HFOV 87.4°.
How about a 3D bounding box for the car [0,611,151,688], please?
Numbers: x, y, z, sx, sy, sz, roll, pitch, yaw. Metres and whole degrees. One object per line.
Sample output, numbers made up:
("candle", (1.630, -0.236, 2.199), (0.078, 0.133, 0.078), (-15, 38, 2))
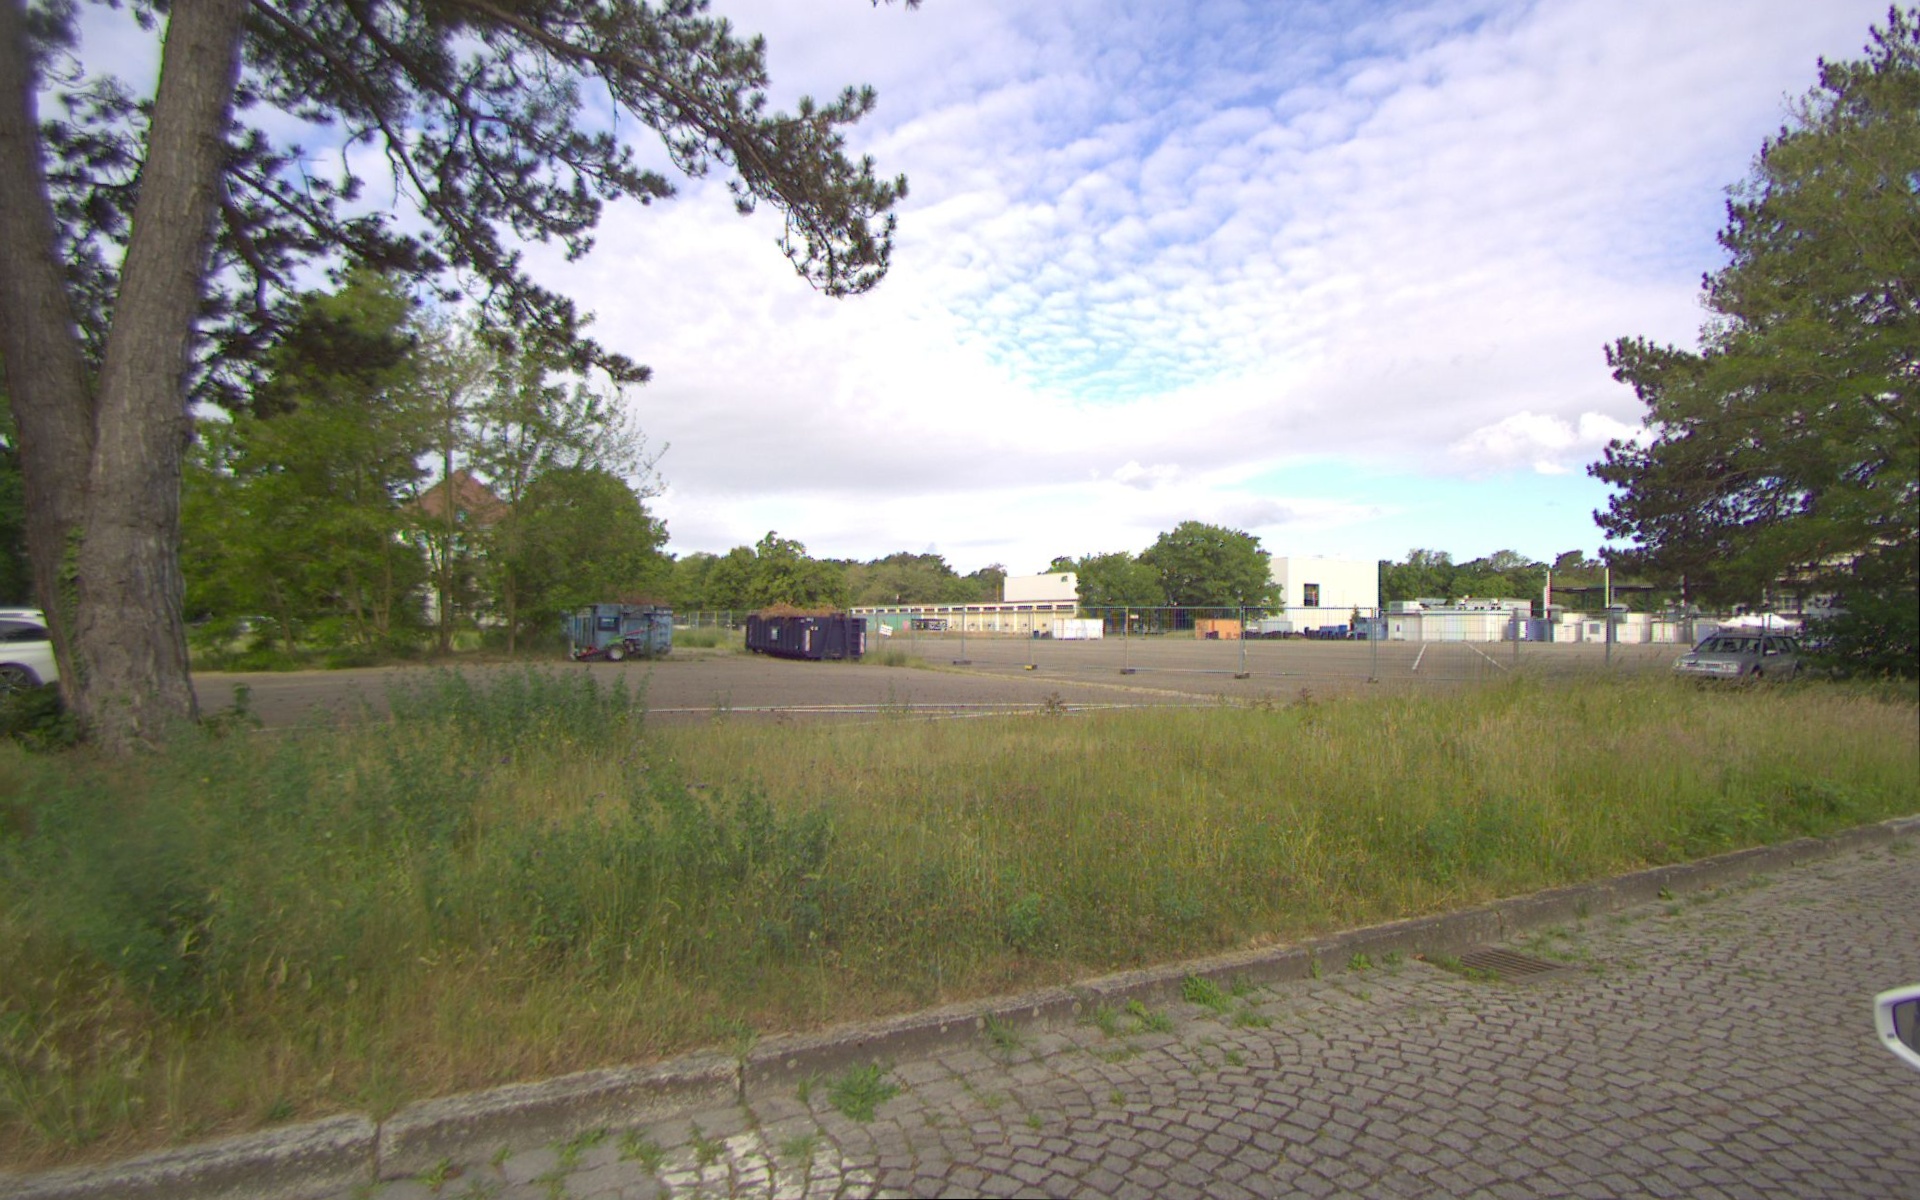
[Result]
("car", (-19.633, 1.007, 20.546), (4.530, 1.489, 1.827), (-1, 0, -30))

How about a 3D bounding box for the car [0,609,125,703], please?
("car", (-16.656, 0.930, 16.245), (4.604, 1.470, 1.825), (-1, 0, -33))

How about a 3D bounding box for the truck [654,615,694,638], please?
("truck", (-29.048, 2.627, 101.874), (2.346, 2.227, 6.503), (1, -1, -30))

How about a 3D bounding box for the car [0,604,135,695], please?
("car", (-18.168, 0.908, 18.357), (4.534, 1.599, 1.825), (-1, 0, -33))

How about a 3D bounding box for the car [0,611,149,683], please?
("car", (-21.192, 1.054, 22.793), (4.064, 1.542, 1.724), (-1, 0, -30))

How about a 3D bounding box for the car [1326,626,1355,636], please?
("car", (57.763, 4.695, 152.452), (1.612, 1.553, 3.946), (1, -1, -31))

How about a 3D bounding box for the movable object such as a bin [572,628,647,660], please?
("movable object such as a bin", (-10.564, 1.320, 30.311), (1.918, 0.945, 1.030), (1, -2, -37))

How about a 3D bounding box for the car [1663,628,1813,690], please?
("car", (20.166, 1.477, 25.979), (4.418, 1.457, 1.706), (1, -1, -33))
